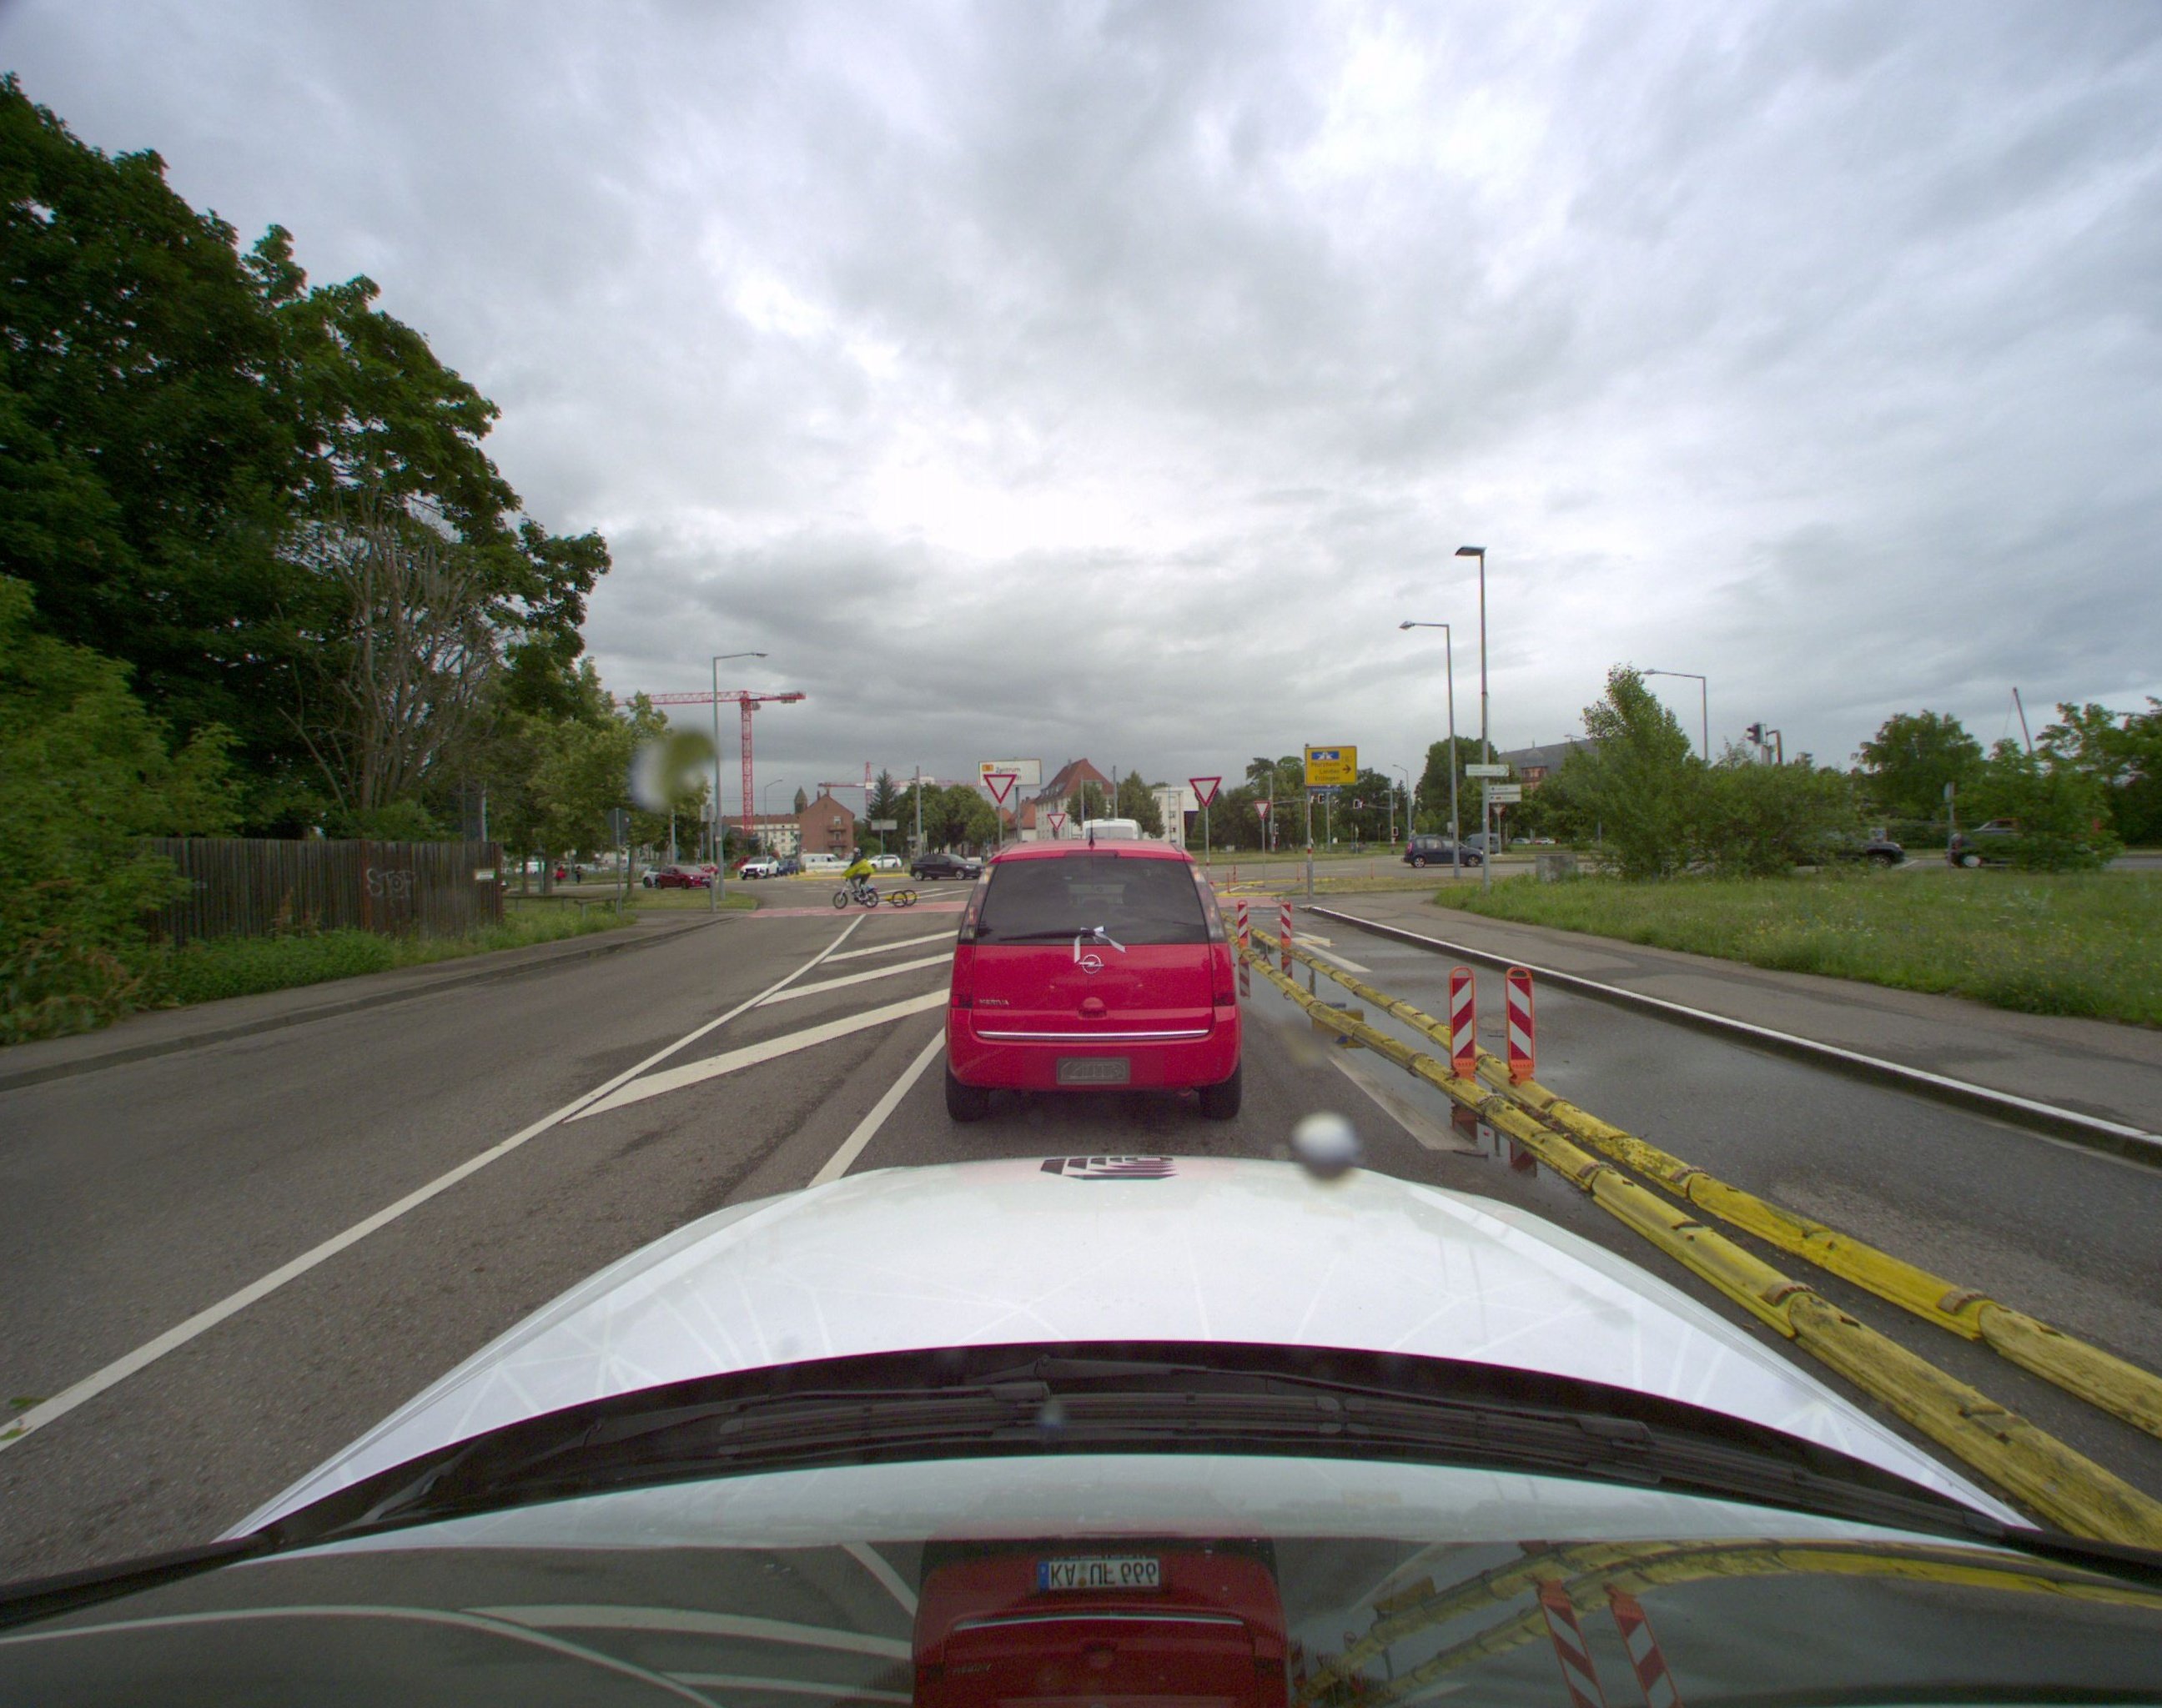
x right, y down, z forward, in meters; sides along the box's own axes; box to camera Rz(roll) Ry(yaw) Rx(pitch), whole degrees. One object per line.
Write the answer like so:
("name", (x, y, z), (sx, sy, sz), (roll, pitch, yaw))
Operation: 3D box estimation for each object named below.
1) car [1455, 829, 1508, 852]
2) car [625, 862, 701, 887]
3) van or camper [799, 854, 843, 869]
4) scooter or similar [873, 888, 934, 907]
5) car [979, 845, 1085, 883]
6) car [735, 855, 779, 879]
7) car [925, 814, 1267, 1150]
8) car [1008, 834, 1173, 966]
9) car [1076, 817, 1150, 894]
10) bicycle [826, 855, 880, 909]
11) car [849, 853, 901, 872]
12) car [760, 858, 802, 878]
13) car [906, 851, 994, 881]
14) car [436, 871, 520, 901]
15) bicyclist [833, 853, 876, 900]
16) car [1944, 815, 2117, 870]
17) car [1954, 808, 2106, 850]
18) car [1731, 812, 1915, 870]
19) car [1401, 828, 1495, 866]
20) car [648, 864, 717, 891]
("car", (36.816, -1.205, 74.972), (1.995, 2.013, 4.460), (-2, 0, -12))
("car", (-27.653, 1.362, 53.924), (3.962, 1.508, 2.006), (-2, 0, 10))
("van or camper", (-39.240, 1.148, 122.893), (6.135, 2.013, 2.007), (-2, 0, 12))
("scooter or similar", (-5.425, 1.328, 24.931), (1.600, 0.504, 0.926), (-2, 0, 4))
("car", (-2.247, 0.471, 38.086), (4.486, 1.583, 2.007), (-2, 0, 12))
("car", (-24.604, 0.965, 62.008), (1.928, 1.684, 4.180), (-2, 0, -6))
("car", (0.128, 0.621, 5.819), (1.667, 1.640, 3.629), (-1, 0, 2))
("car", (0.195, 0.561, 12.505), (2.052, 1.648, 4.609), (-1, 0, 2))
("car", (1.244, 0.036, 29.339), (2.183, 2.540, 4.973), (-1, 0, 7))
("bicycle", (-7.034, 0.869, 25.179), (1.465, 1.612, 0.609), (-2, 0, 18))
("car", (-20.457, 0.840, 81.138), (1.974, 1.635, 4.705), (-2, 0, 40))
("car", (-25.229, 1.137, 68.672), (1.923, 1.489, 4.002), (-2, 0, 2))
("car", (-7.161, 0.638, 44.607), (4.272, 1.464, 2.010), (-2, 0, 19))
("car", (-42.576, 2.274, 57.554), (4.798, 1.900, 2.107), (-2, 0, 14))
("bicyclist", (-6.996, 0.682, 25.166), (1.053, 1.401, 0.618), (-2, 0, 18))
("car", (34.417, -0.399, 29.709), (2.012, 1.848, 3.950), (-2, 0, -44))
("car", (48.288, -1.225, 41.643), (4.829, 1.917, 2.128), (-2, 0, 44))
("car", (27.826, -0.469, 30.839), (4.977, 1.972, 2.238), (-2, 0, 39))
("car", (19.199, -0.347, 42.793), (4.163, 1.813, 2.087), (-2, 0, 15))
("car", (-23.950, 1.409, 48.920), (4.301, 1.464, 2.013), (-2, 0, 39))
